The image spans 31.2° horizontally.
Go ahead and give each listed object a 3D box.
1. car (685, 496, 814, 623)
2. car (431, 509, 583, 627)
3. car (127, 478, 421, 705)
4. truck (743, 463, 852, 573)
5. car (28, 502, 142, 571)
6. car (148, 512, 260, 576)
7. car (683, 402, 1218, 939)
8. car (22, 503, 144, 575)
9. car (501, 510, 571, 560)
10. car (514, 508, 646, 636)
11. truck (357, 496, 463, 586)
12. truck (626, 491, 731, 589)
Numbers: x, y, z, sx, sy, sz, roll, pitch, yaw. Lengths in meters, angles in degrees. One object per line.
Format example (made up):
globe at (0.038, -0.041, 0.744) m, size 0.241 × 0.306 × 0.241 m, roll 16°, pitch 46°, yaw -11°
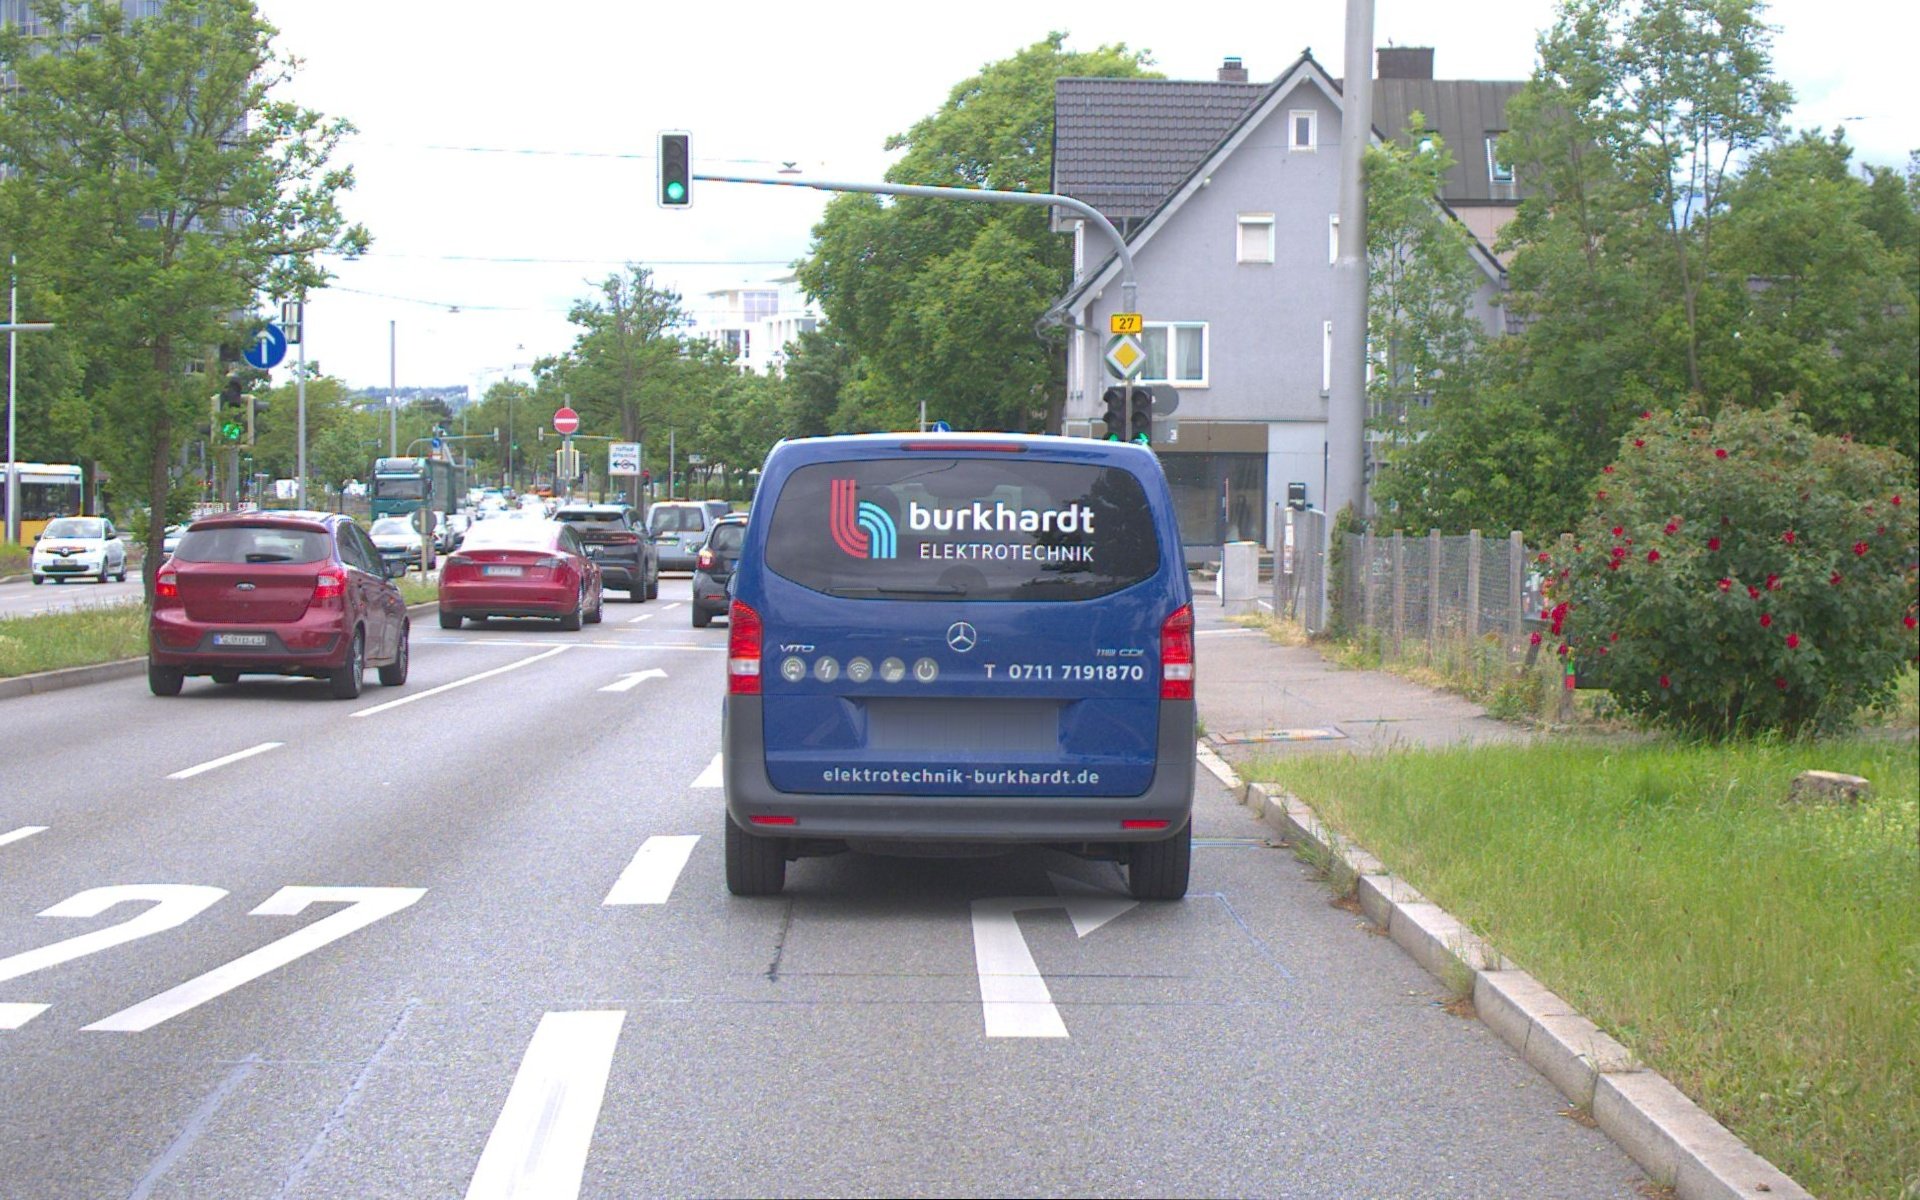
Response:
car at (-2.989, -0.605, 48.765) m, size 1.746 × 1.717 × 4.001 m, roll 0°, pitch 2°, yaw -4°
car at (-6.102, -0.424, 46.021) m, size 1.868 × 1.481 × 4.001 m, roll -1°, pitch 0°, yaw -9°
car at (-5.700, -0.116, 29.008) m, size 1.746 × 1.717 × 4.001 m, roll 2°, pitch 1°, yaw -2°
truck at (-3.394, -1.740, 72.818) m, size 1.993 × 2.158 × 5.559 m, roll 2°, pitch 1°, yaw 0°
car at (-20.400, -1.490, 80.261) m, size 1.624 × 1.568 × 4.000 m, roll 0°, pitch 1°, yaw 0°
car at (-17.249, -1.293, 78.582) m, size 1.813 × 1.393 × 5.012 m, roll -1°, pitch 1°, yaw -5°
car at (-0.038, 0.217, 15.076) m, size 1.948 × 1.959 × 4.542 m, roll 1°, pitch 1°, yaw 0°
car at (-20.429, -1.442, 80.220) m, size 1.747 × 1.512 × 4.000 m, roll -4°, pitch 2°, yaw 0°
car at (-17.283, -2.680, 140.354) m, size 1.994 × 2.007 × 4.179 m, roll 0°, pitch 1°, yaw 5°
car at (-6.536, -0.512, 58.782) m, size 1.993 × 2.006 × 4.002 m, roll 2°, pitch 2°, yaw -9°
truck at (-23.939, -2.583, 150.120) m, size 3.367 × 3.714 × 11.282 m, roll 1°, pitch 1°, yaw -3°
truck at (-6.673, -1.446, 82.051) m, size 1.993 × 2.158 × 5.559 m, roll 2°, pitch 1°, yaw 0°
